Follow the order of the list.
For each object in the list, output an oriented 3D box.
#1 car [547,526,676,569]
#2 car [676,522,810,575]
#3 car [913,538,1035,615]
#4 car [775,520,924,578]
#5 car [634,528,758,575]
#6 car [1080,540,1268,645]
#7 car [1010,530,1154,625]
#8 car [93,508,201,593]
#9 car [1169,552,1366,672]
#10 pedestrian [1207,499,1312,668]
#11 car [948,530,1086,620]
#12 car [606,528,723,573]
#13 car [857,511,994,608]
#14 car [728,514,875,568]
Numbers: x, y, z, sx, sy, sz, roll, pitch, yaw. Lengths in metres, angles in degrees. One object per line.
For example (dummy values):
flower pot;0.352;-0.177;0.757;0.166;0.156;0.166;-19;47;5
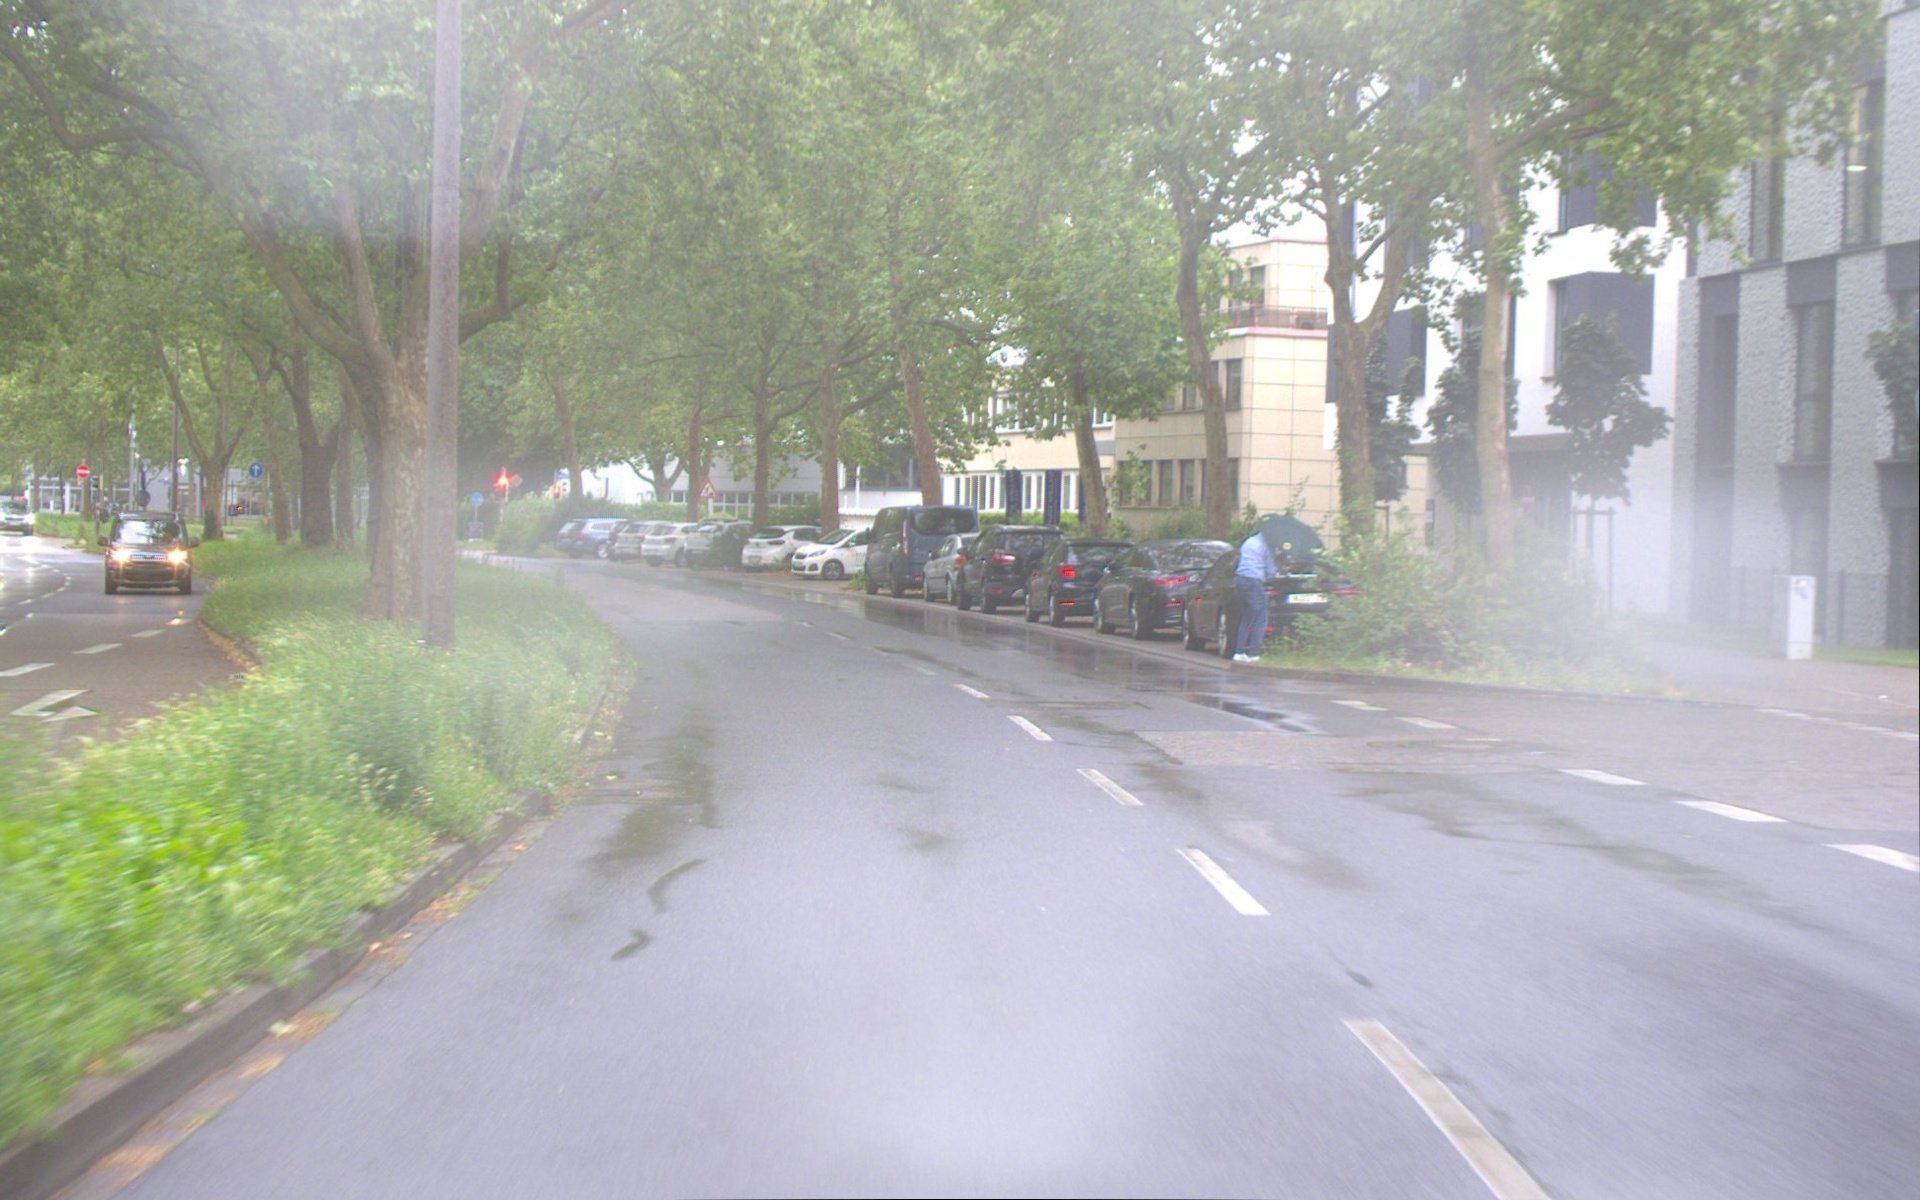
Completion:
car;-12.722;-1.927;125.802;4.483;1.454;1.748;1;1;-41
car;-6.734;-1.587;106.984;1.748;1.534;4.028;2;1;44
car;0.250;-0.505;70.655;1.743;1.464;4.307;1;1;-10
car;-3.007;-1.387;93.704;3.634;1.499;1.749;0;2;-29
car;-8.588;-1.569;111.844;3.682;1.411;1.748;1;1;-41
car;3.103;-0.145;50.899;1.743;1.423;5.105;1;1;-8
car;1.982;-0.397;56.902;1.743;1.471;4.084;1;1;-7
car;-17.619;-1.096;74.372;2.029;1.730;4.956;1;1;-16
car;3.907;0.111;44.393;1.743;1.423;4.861;-1;1;-4
pedestrian;3.630;-0.200;41.623;0.897;2.007;0.833;1;1;-43
car;1.027;-0.491;63.870;1.743;1.561;4.373;1;1;-10
car;-10.062;-1.684;117.232;1.774;1.411;3.683;2;1;45
car;-0.823;-0.912;75.888;2.120;2.021;5.529;1;1;-10
car;-4.492;-1.679;97.908;4.027;1.423;1.748;1;1;-45
